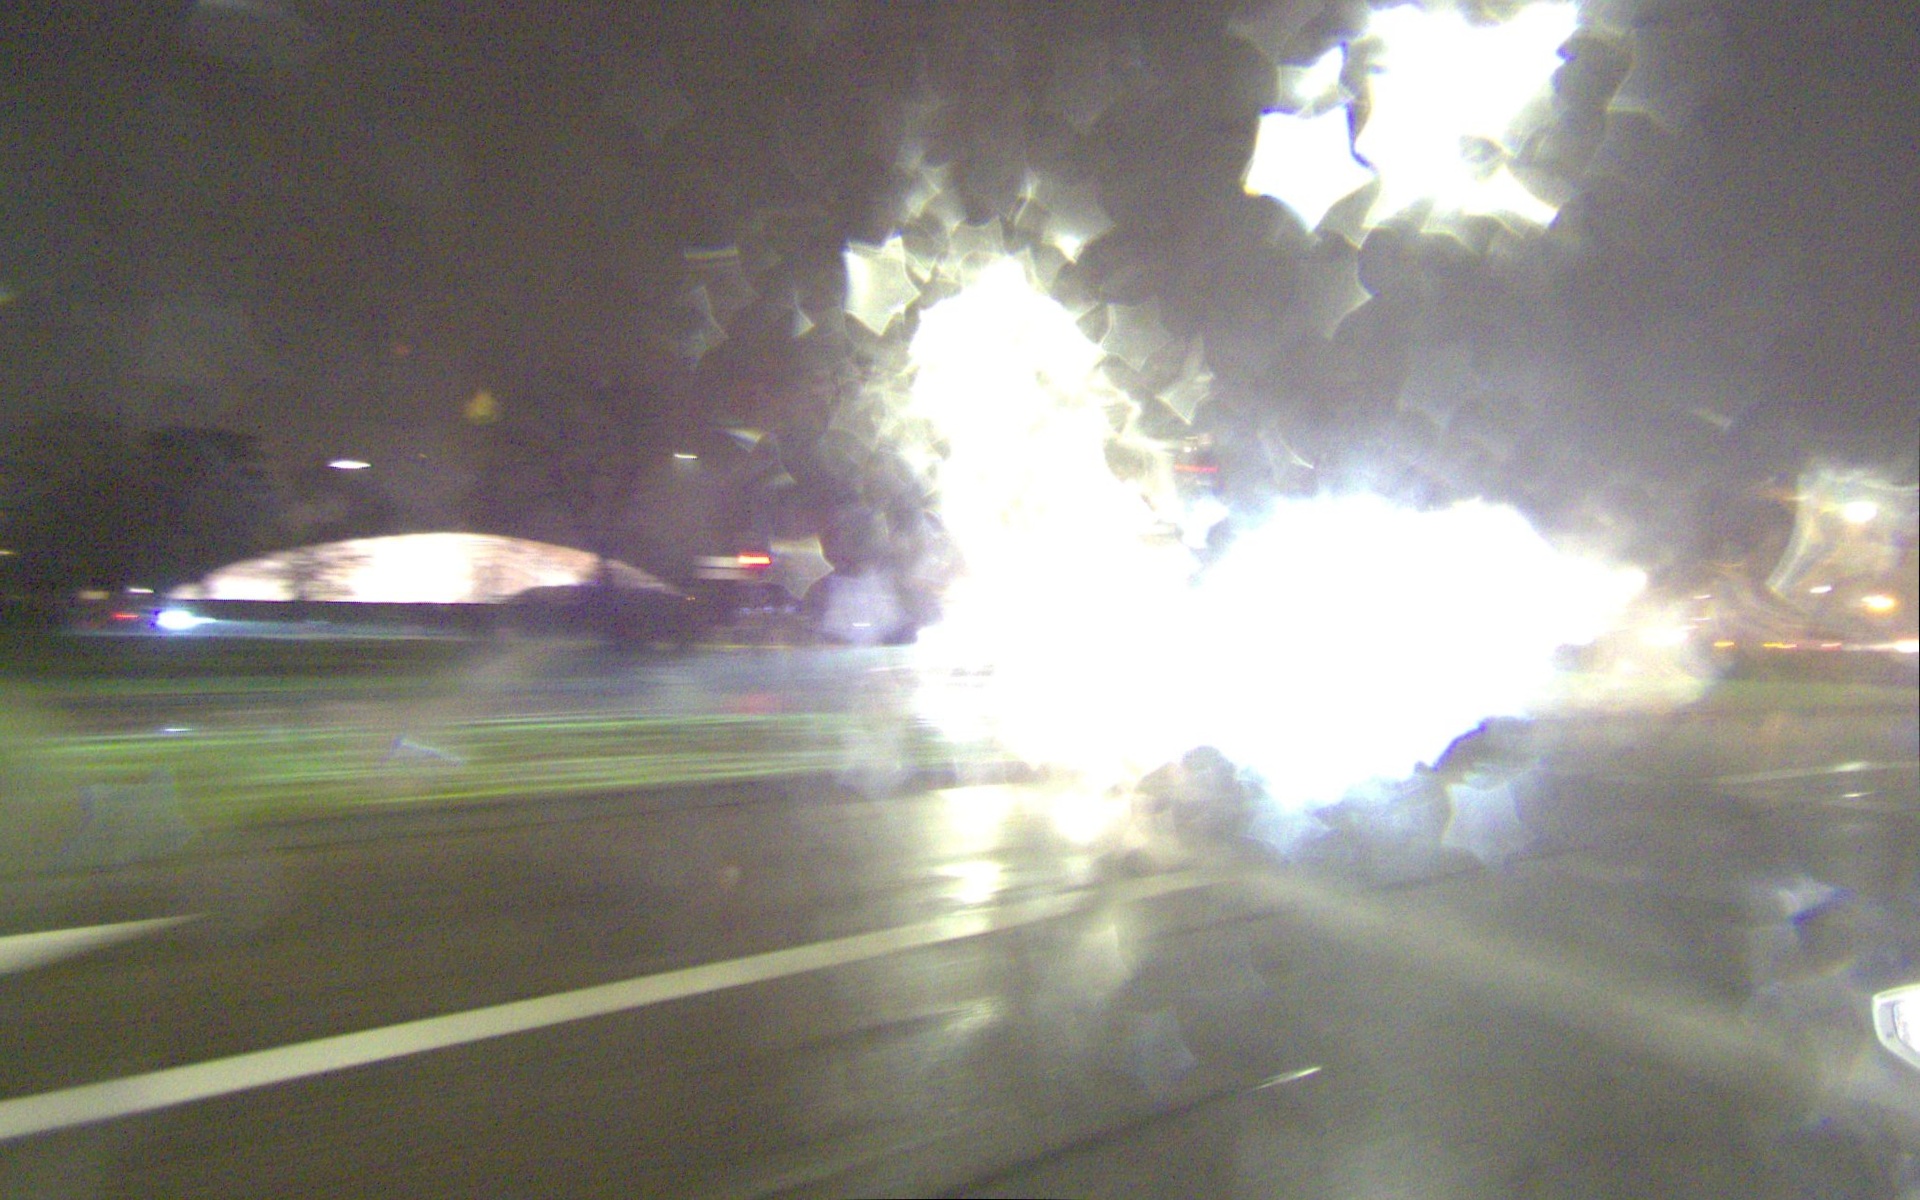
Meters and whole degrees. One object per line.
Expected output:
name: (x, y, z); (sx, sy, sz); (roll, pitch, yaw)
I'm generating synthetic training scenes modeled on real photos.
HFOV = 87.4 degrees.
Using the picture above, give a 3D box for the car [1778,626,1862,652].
car: (55.734, 2.513, 65.161); (1.756, 1.506, 3.950); (1, 0, -42)

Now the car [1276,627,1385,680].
car: (13.911, 1.940, 37.542); (2.033, 1.755, 5.103); (2, 0, 42)

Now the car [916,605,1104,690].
car: (1.316, 1.032, 23.643); (2.036, 1.738, 5.024); (1, 0, 35)

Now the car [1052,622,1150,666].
car: (5.596, 1.665, 39.449); (1.967, 1.561, 4.401); (1, 0, 36)

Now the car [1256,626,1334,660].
car: (21.878, 2.806, 65.645); (4.340, 2.040, 1.998); (1, 0, -7)

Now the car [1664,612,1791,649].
car: (49.230, 1.902, 64.659); (6.203, 2.117, 2.510); (1, 0, 31)

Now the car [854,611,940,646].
car: (-3.094, 1.398, 49.749); (3.919, 1.595, 1.761); (1, 0, 9)

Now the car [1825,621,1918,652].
car: (54.692, 2.161, 60.340); (1.822, 1.637, 3.952); (1, 0, -41)

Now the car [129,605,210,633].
car: (-46.971, 1.103, 59.689); (3.919, 1.550, 1.680); (1, 0, 13)
